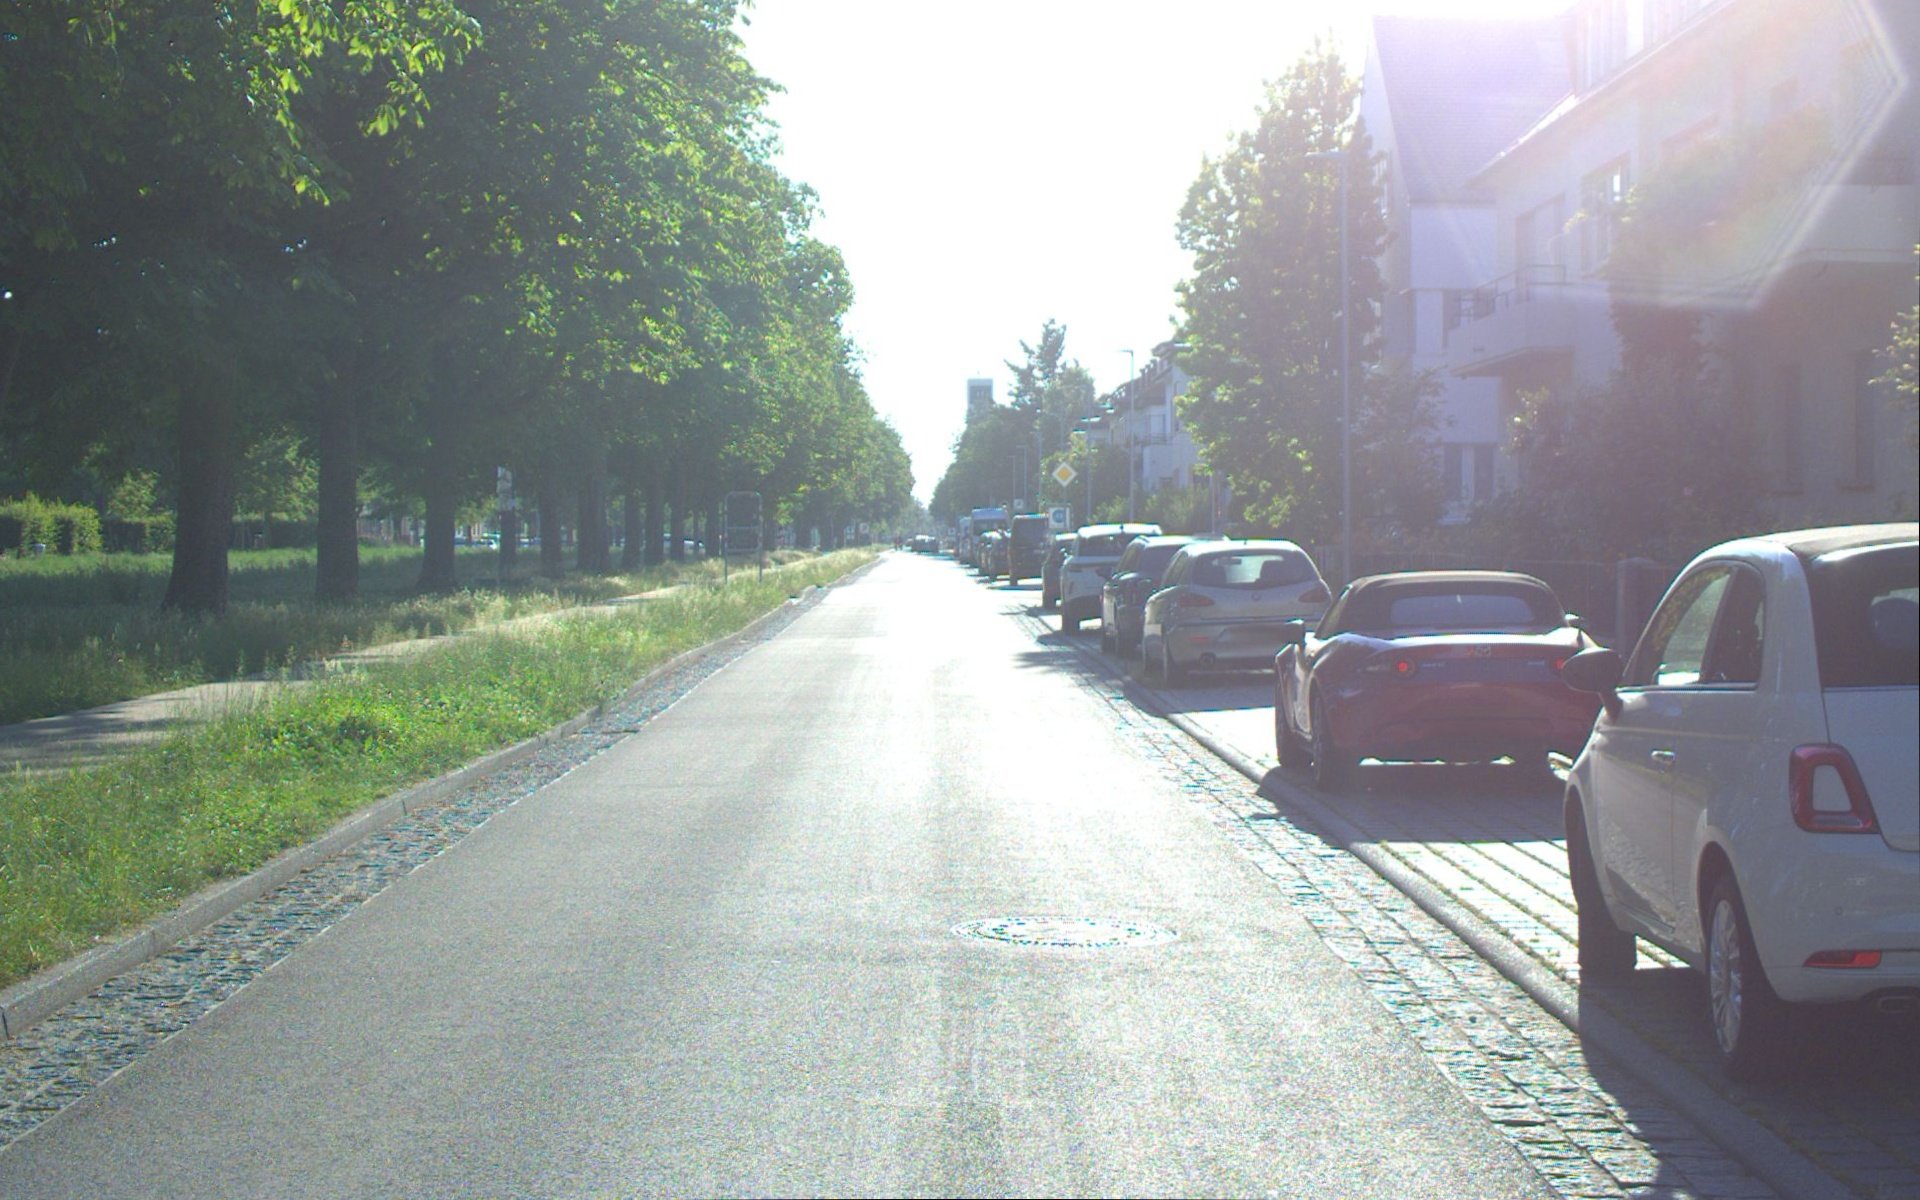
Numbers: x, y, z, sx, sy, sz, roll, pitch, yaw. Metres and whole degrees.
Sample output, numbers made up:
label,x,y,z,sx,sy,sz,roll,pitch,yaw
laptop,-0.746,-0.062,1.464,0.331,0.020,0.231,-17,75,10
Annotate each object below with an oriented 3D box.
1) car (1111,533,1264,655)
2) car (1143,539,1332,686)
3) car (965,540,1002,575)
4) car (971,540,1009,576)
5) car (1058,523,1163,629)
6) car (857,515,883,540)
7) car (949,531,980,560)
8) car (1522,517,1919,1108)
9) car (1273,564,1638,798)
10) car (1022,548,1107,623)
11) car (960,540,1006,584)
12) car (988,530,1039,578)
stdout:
label,x,y,z,sx,sy,sz,roll,pitch,yaw
car,2.695,-0.094,41.238,1.652,1.391,3.266,0,1,1
car,2.714,0.093,34.180,1.652,1.391,3.266,0,1,1
car,1.081,-1.964,158.783,1.652,1.536,3.266,1,1,1
car,1.346,-1.872,153.384,1.652,1.536,3.266,1,1,1
car,2.286,-0.382,52.690,1.498,1.561,3.266,0,1,1
car,-5.864,-4.738,224.534,1.652,1.536,3.267,1,1,0
car,0.251,-3.004,189.240,1.652,1.536,3.267,1,1,0
car,2.809,0.510,10.540,1.592,1.504,3.592,0,1,0
car,2.845,0.420,20.386,1.693,1.244,3.497,0,1,1
car,2.024,-0.300,67.063,1.594,1.429,3.266,0,1,1
car,0.844,-1.411,126.998,1.652,1.536,3.266,1,1,1
car,1.776,-1.536,114.544,1.652,1.536,3.266,1,1,1
